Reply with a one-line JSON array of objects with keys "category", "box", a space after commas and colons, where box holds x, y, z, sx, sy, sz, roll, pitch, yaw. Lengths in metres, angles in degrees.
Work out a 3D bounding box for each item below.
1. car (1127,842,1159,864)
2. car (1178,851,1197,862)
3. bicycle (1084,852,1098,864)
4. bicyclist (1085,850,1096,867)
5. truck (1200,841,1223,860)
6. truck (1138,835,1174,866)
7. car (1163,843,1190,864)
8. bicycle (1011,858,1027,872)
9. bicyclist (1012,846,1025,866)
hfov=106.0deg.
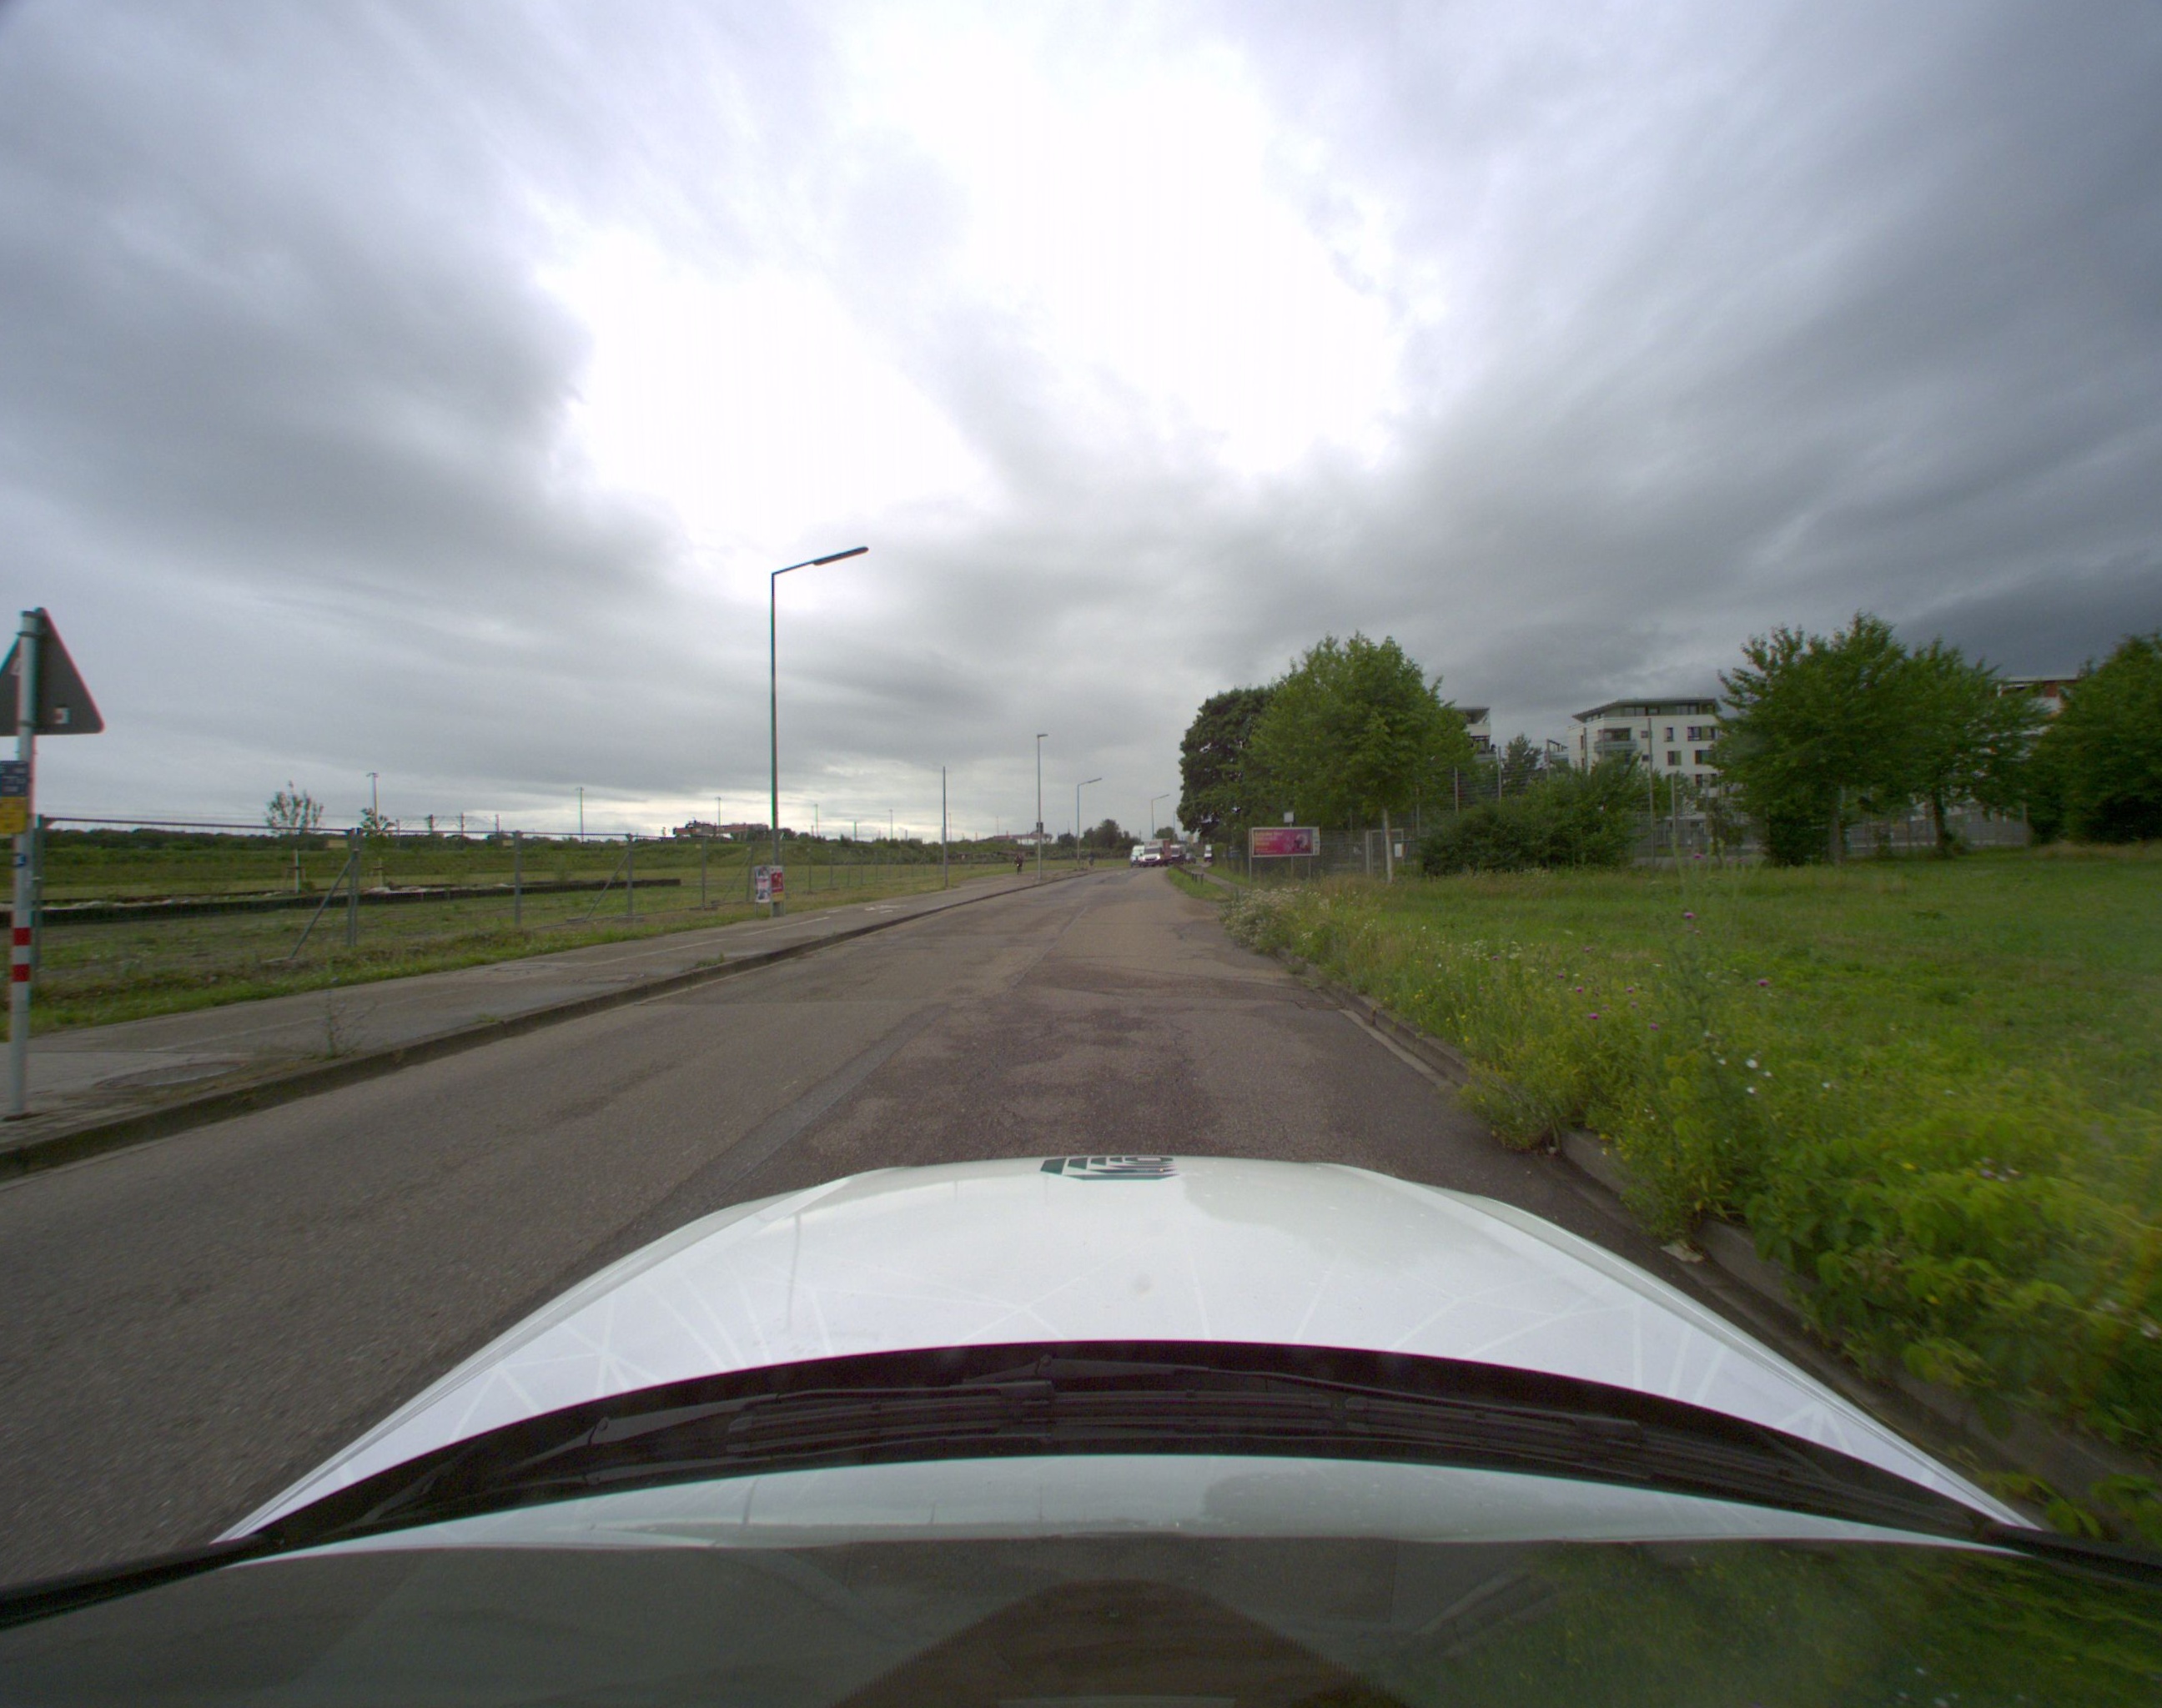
[{"category": "car", "box": [7.404, -0.160, 96.572, 2.271, 2.555, 6.440, -2, 0, 18]}, {"category": "car", "box": [15.518, 0.370, 118.757, 1.764, 1.504, 4.021, -2, 0, 21]}, {"category": "bicycle", "box": [1.038, 0.376, 87.173, 0.812, 1.204, 2.568, -1, 1, 16]}, {"category": "bicyclist", "box": [1.020, 0.497, 87.099, 0.821, 1.821, 1.336, -1, 1, 16]}, {"category": "truck", "box": [22.274, -0.665, 138.361, 2.441, 3.060, 8.202, -2, 0, 19]}, {"category": "truck", "box": [8.228, -0.414, 88.937, 2.323, 3.062, 7.529, -4, 0, 16]}, {"category": "car", "box": [13.248, -0.126, 112.310, 2.281, 2.734, 6.122, -1, 1, 20]}, {"category": "bicycle", "box": [-4.660, 0.817, 61.067, 0.799, 0.907, 2.235, -1, 1, 5]}, {"category": "bicyclist", "box": [-4.670, 0.137, 61.051, 0.778, 1.526, 1.095, -1, 1, 4]}]
